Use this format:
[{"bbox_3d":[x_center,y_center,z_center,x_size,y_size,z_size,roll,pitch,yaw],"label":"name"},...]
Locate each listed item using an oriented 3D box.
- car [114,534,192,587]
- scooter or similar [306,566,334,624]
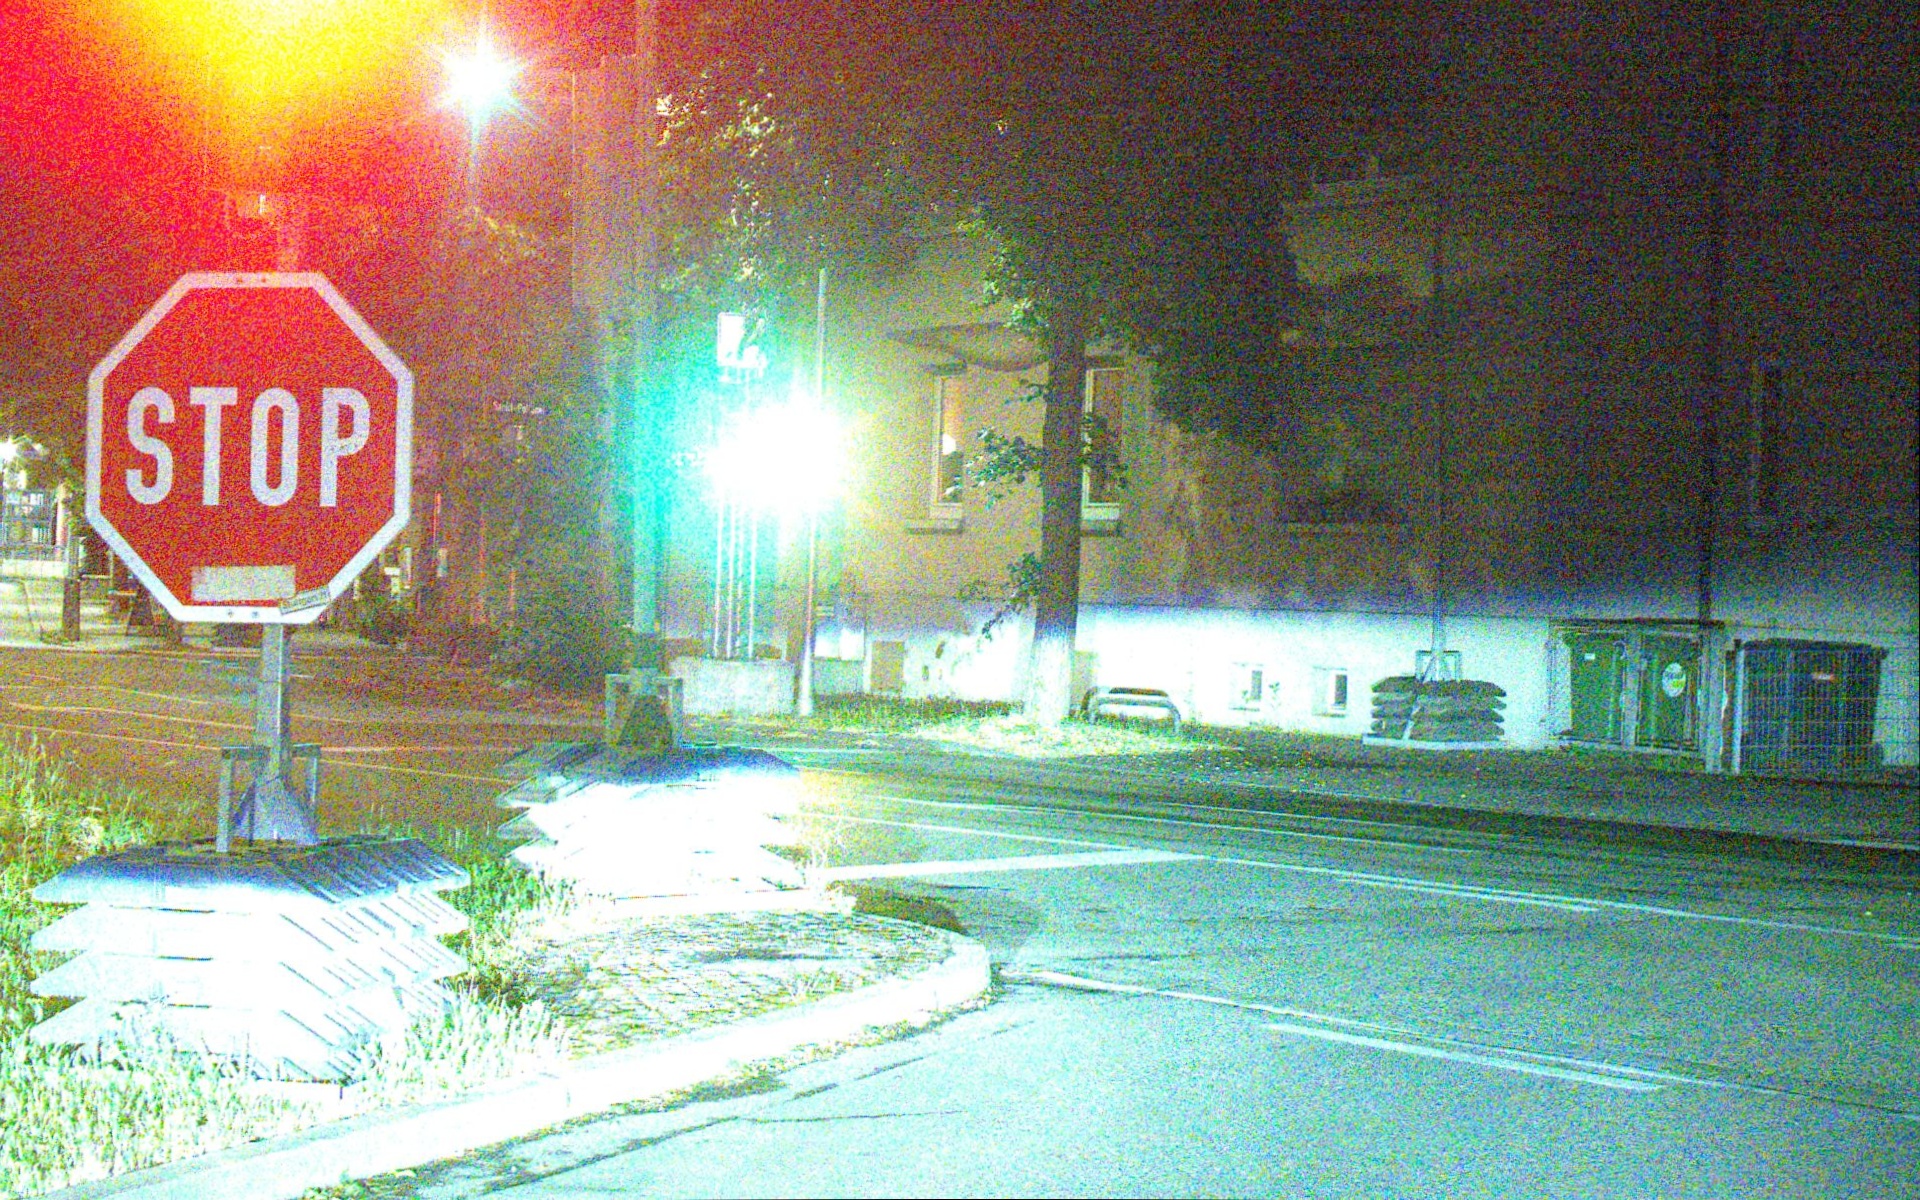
[{"bbox_3d":[-24.546,-1.216,104.457,1.733,1.454,4.729,3,0,-19],"label":"car"},{"bbox_3d":[-12.816,-0.107,68.866,0.421,1.126,1.494,2,1,-8],"label":"scooter or similar"}]
